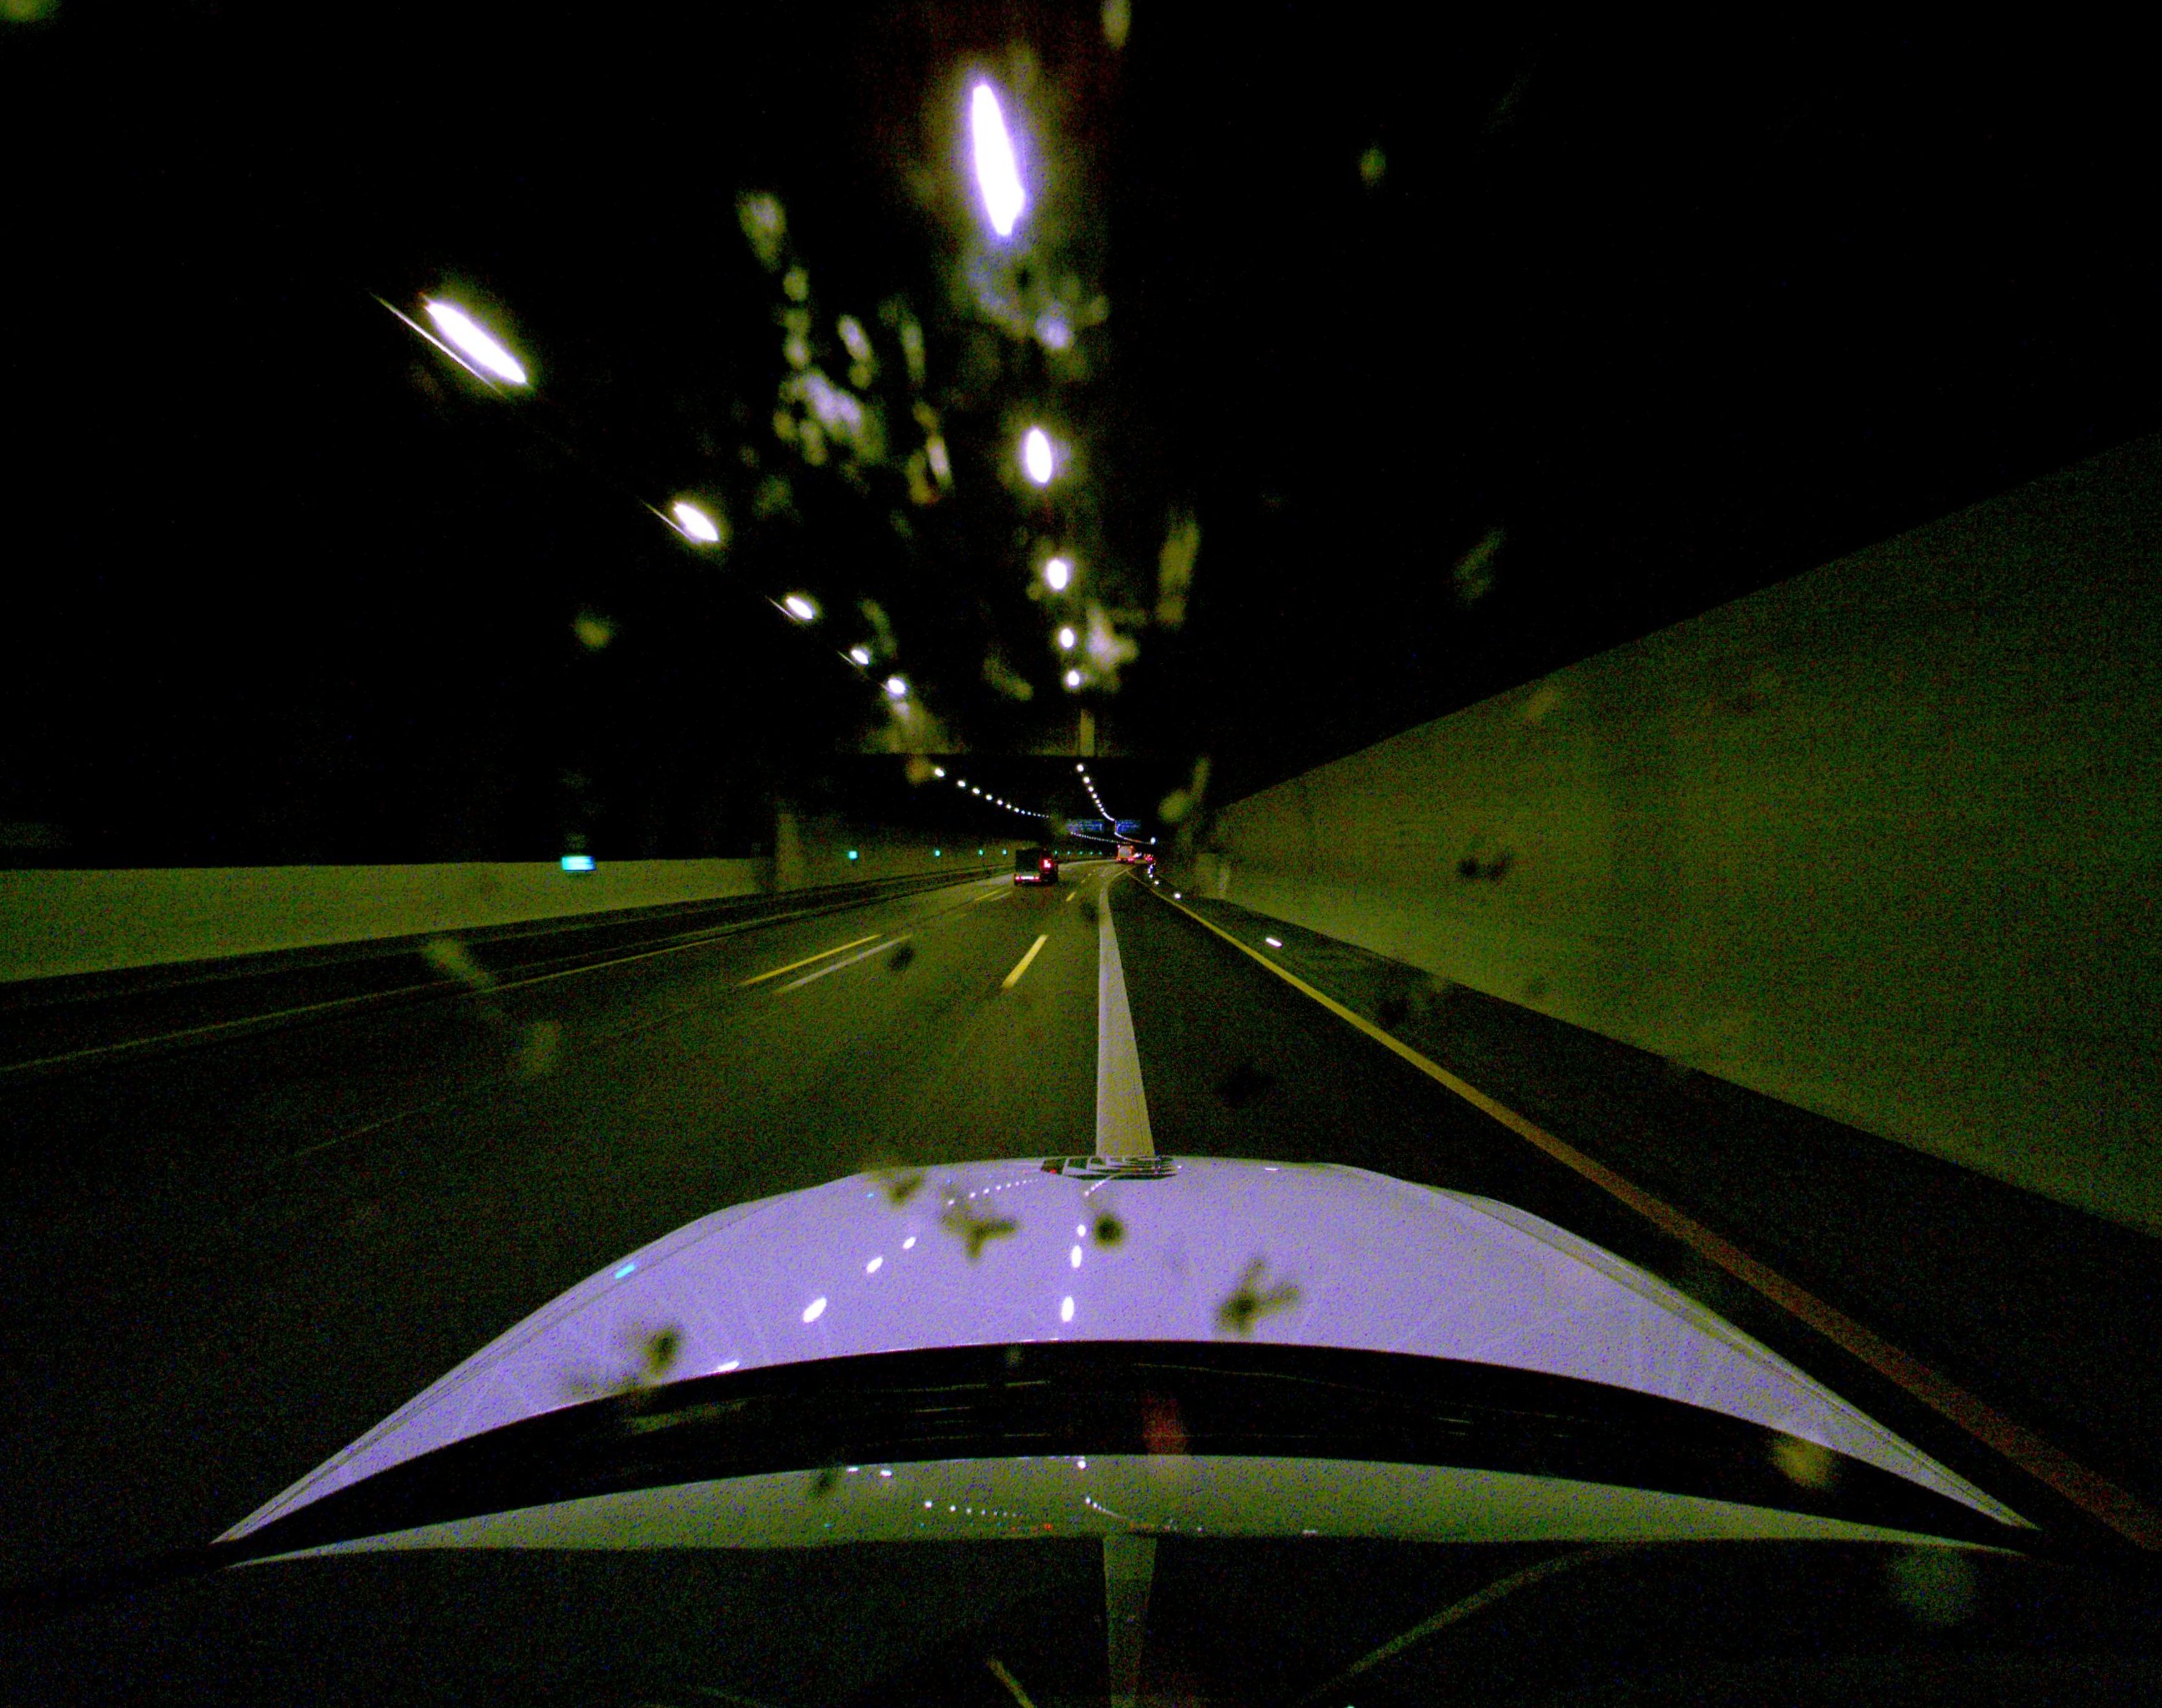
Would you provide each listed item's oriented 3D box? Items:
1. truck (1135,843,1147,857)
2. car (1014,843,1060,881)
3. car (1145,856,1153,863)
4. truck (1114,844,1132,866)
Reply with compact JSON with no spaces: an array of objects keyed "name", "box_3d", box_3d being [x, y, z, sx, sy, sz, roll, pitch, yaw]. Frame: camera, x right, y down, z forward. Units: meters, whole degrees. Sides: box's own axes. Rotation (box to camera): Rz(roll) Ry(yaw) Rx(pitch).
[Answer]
[{"name":"truck","box_3d":[19.186,-1.328,259.974,3.461,4.316,10.957,-1,0,2]},{"name":"car","box_3d":[-2.329,0.497,44.815,1.985,1.895,5.455,-1,-2,2]},{"name":"car","box_3d":[18.587,1.545,223.117,1.983,1.895,5.543,-1,0,7]},{"name":"truck","box_3d":[8.355,0.181,162.952,3.460,4.316,10.960,1,0,3]}]
